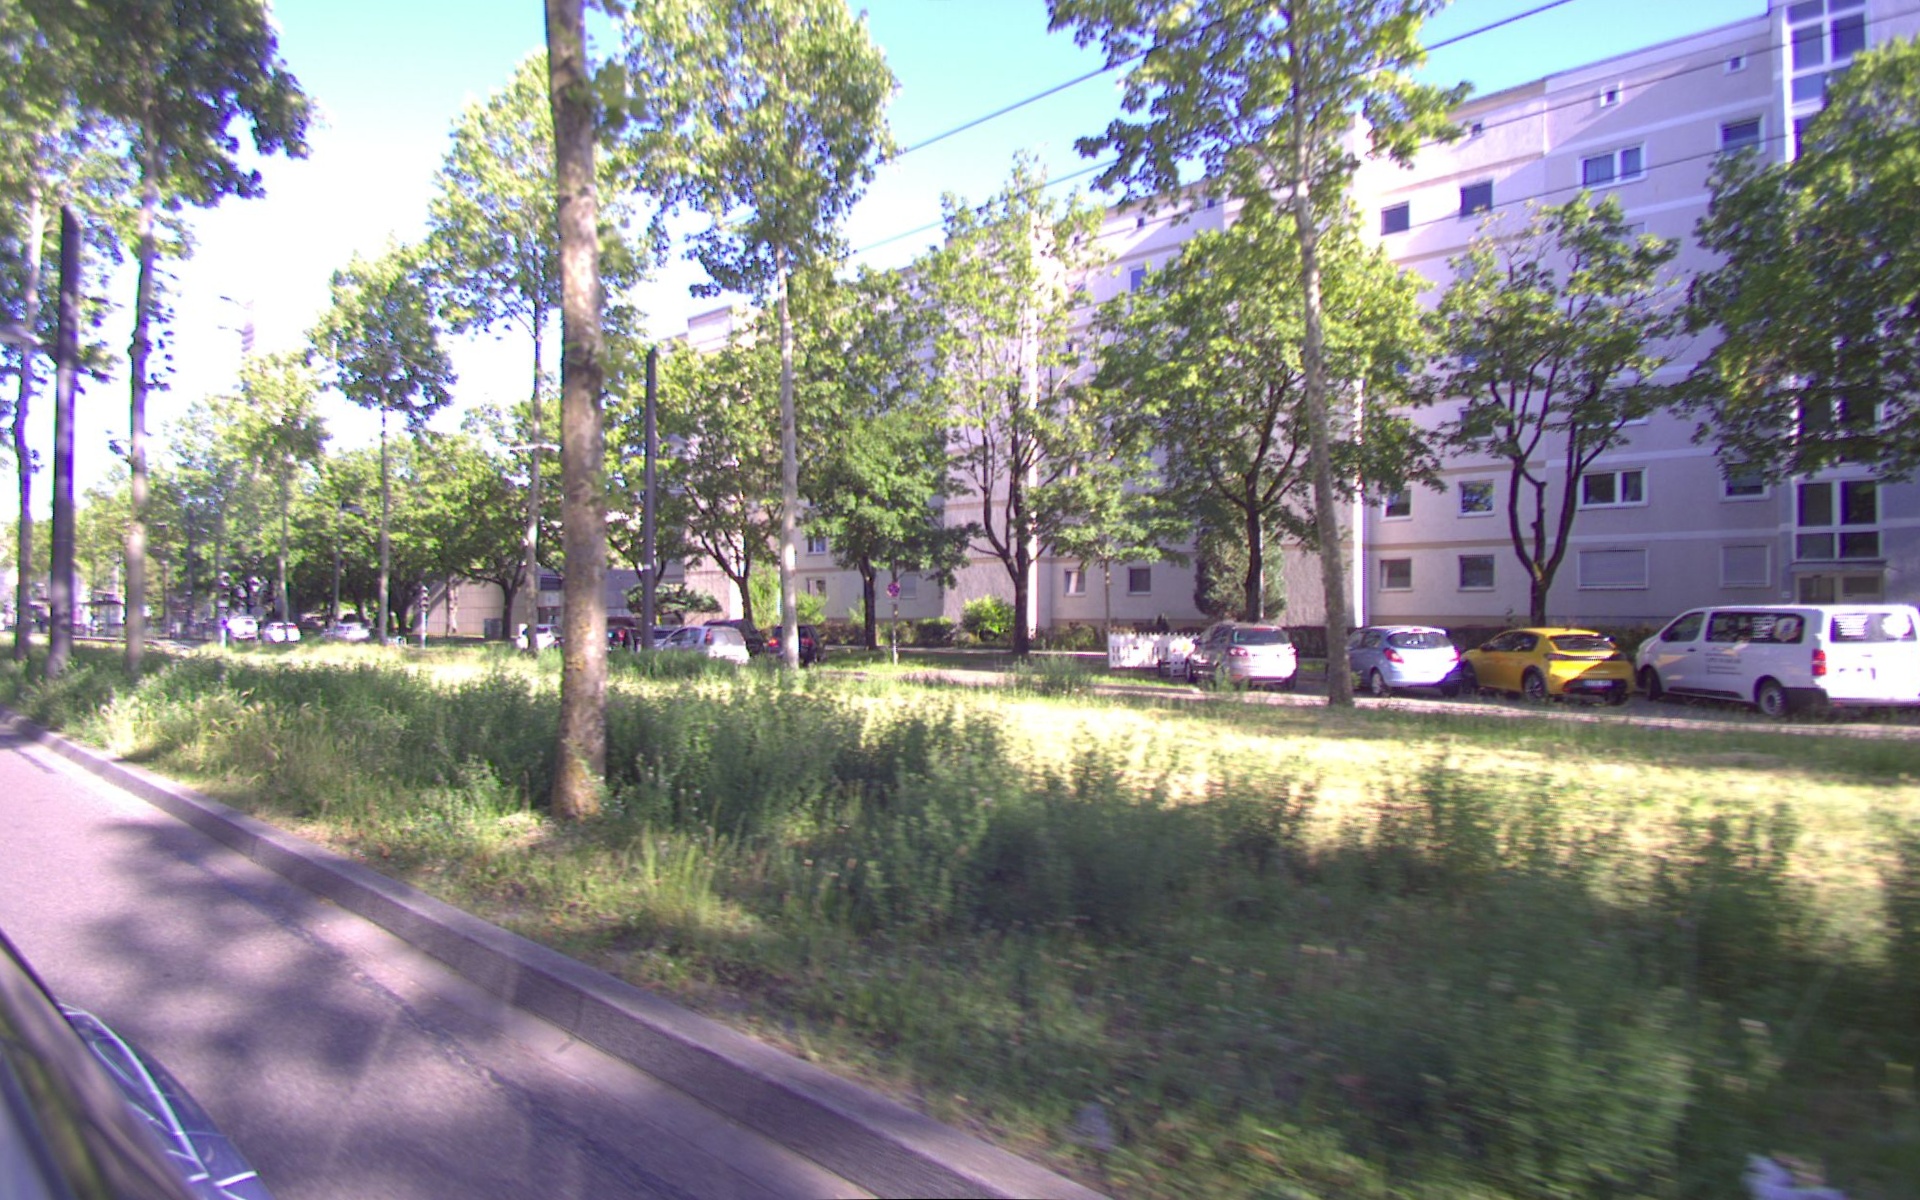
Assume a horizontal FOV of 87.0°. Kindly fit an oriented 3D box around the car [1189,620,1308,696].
[{"bbox_3d":[6.789,1.314,24.233,1.628,1.658,4.085,0,-1,-1],"label":"car"}]

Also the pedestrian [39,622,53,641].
[{"bbox_3d":[-82.741,2.840,91.653,0.754,1.702,0.873,-1,-1,42],"label":"pedestrian"}]

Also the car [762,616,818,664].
[{"bbox_3d":[-6.059,1.411,36.347,1.626,1.487,4.090,-4,-1,-6],"label":"car"}]

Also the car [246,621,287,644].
[{"bbox_3d":[-49.374,2.304,72.028,3.934,1.557,1.694,-2,-2,44],"label":"car"}]

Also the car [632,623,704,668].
[{"bbox_3d":[-11.640,1.788,40.597,1.629,1.658,4.083,2,-1,1],"label":"car"}]

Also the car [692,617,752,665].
[{"bbox_3d":[-9.053,1.557,38.795,1.626,1.658,4.089,-2,-2,-5],"label":"car"}]

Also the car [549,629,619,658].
[{"bbox_3d":[-17.133,1.949,46.309,1.814,1.256,3.826,0,-2,-1],"label":"car"}]

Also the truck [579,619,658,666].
[{"bbox_3d":[-14.421,1.750,42.922,1.631,1.788,4.078,1,-1,5],"label":"truck"}]

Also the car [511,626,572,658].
[{"bbox_3d":[-19.992,1.980,48.512,1.811,1.446,3.832,0,-2,-8],"label":"car"}]

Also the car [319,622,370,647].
[{"bbox_3d":[-39.522,2.202,64.928,4.200,1.557,1.695,-2,-2,43],"label":"car"}]

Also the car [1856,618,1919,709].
[{"bbox_3d":[16.686,1.083,16.090,1.560,1.443,4.076,-2,0,7],"label":"car"}]

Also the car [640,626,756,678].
[{"bbox_3d":[-8.281,1.586,31.853,3.847,1.497,1.629,0,-2,41],"label":"car"}]

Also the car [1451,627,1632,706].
[{"bbox_3d":[11.717,1.275,20.711,1.559,1.443,4.079,0,-1,4],"label":"car"}]

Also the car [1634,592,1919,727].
[{"bbox_3d":[14.342,0.951,17.777,1.867,2.022,4.794,-2,-1,3],"label":"car"}]

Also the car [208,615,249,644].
[{"bbox_3d":[-57.578,2.328,79.632,3.931,2.279,1.696,-1,-2,41],"label":"car"}]

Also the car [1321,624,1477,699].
[{"bbox_3d":[9.555,1.280,22.393,1.628,1.494,4.085,0,-1,-1],"label":"car"}]

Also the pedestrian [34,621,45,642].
[{"bbox_3d":[-83.655,2.854,91.958,0.636,1.881,0.712,-1,-1,42],"label":"pedestrian"}]

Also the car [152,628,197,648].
[{"bbox_3d":[-57.795,2.787,74.469,4.168,1.400,1.971,-1,-2,43],"label":"car"}]
